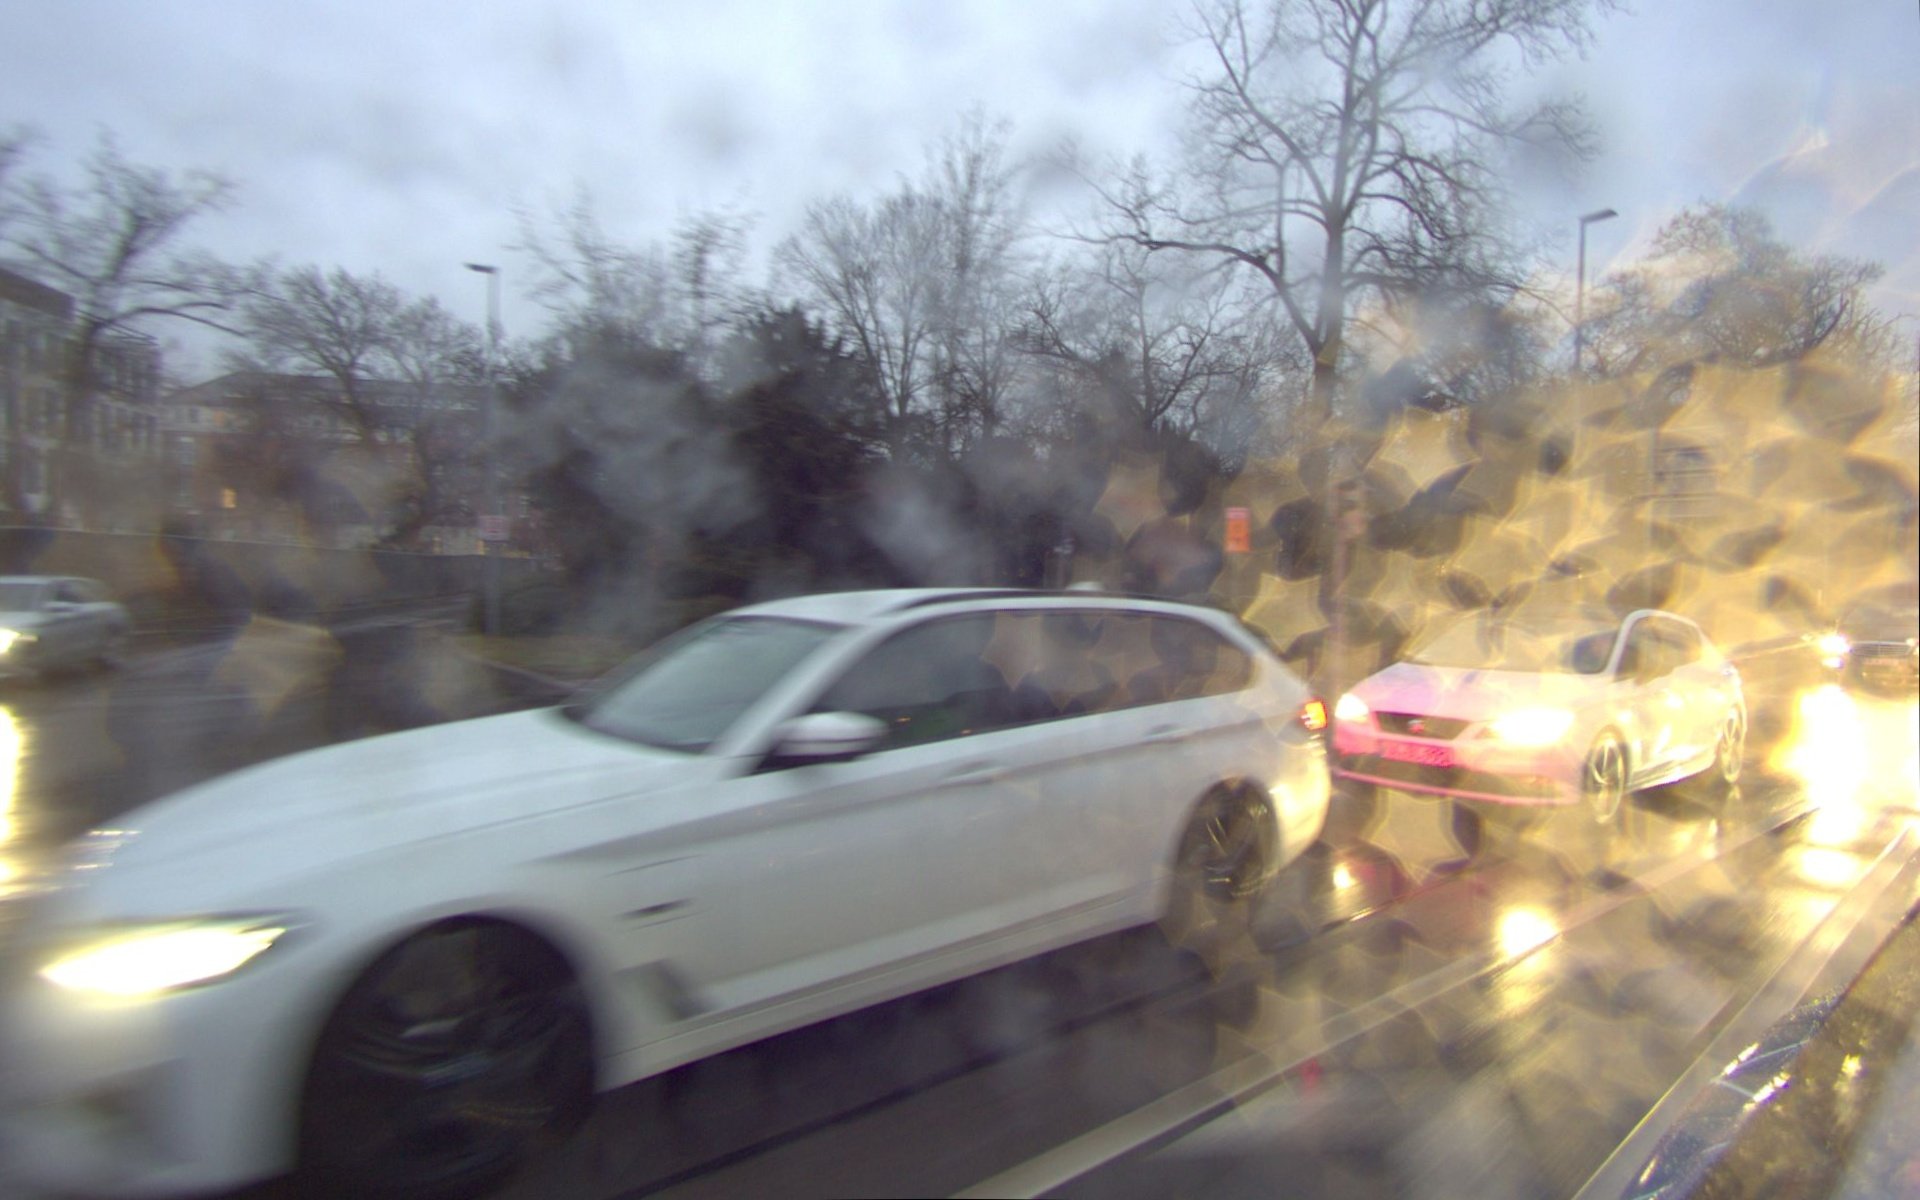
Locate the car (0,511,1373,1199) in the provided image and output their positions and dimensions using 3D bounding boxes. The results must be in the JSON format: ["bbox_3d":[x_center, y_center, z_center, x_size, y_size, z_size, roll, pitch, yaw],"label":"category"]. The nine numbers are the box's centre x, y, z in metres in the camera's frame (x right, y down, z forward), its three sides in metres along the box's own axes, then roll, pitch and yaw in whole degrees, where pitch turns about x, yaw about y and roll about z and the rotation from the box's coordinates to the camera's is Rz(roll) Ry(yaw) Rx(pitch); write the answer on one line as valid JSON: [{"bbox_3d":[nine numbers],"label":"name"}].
[{"bbox_3d":[-0.568,0.578,3.966,4.874,1.520,1.792,0,0,-37],"label":"car"}]

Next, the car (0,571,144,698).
[{"bbox_3d":[-13.400,0.372,14.137,1.842,1.507,4.528,0,2,-22],"label":"car"}]

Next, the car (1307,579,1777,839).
[{"bbox_3d":[4.630,0.603,7.855,3.967,1.479,1.779,-1,2,-38],"label":"car"}]

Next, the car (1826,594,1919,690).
[{"bbox_3d":[17.576,0.710,18.659,4.007,1.517,1.879,-1,2,-41],"label":"car"}]
